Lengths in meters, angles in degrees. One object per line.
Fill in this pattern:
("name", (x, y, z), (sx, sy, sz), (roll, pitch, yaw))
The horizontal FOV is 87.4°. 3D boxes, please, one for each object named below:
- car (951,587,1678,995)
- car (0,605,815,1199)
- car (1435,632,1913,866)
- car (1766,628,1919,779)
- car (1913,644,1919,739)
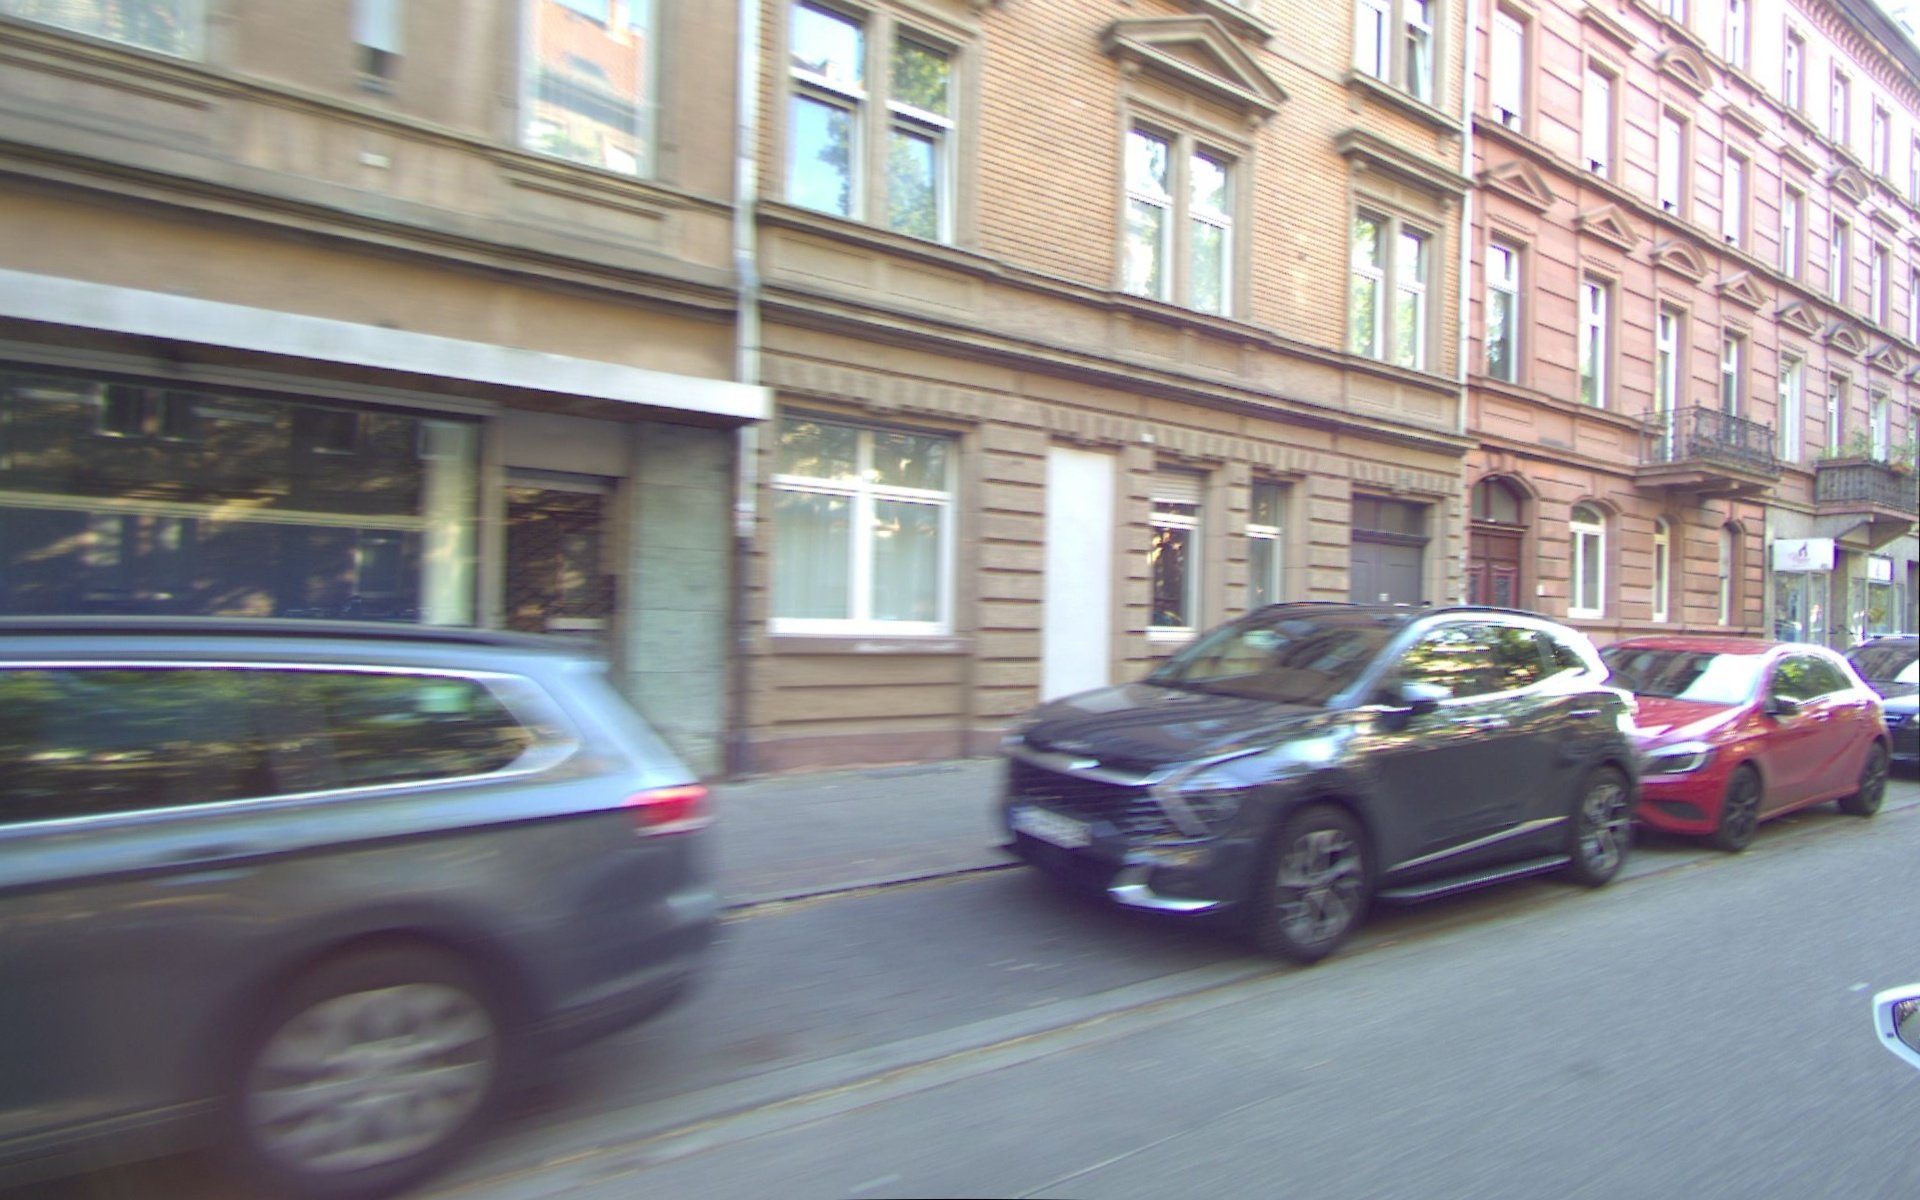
("car", (2.236, 0.796, 5.943), (4.267, 1.621, 1.810), (1, 0, -33))
("car", (-2.822, 0.759, 2.787), (4.438, 1.492, 1.852), (1, -1, -32))
("car", (6.092, 1.033, 8.446), (4.267, 1.445, 1.810), (1, 0, -33))
("car", (11.558, 1.133, 11.914), (4.375, 1.497, 1.810), (1, 0, -33))
("car", (15.600, 1.317, 14.542), (4.056, 1.340, 1.696), (1, -1, -32))
